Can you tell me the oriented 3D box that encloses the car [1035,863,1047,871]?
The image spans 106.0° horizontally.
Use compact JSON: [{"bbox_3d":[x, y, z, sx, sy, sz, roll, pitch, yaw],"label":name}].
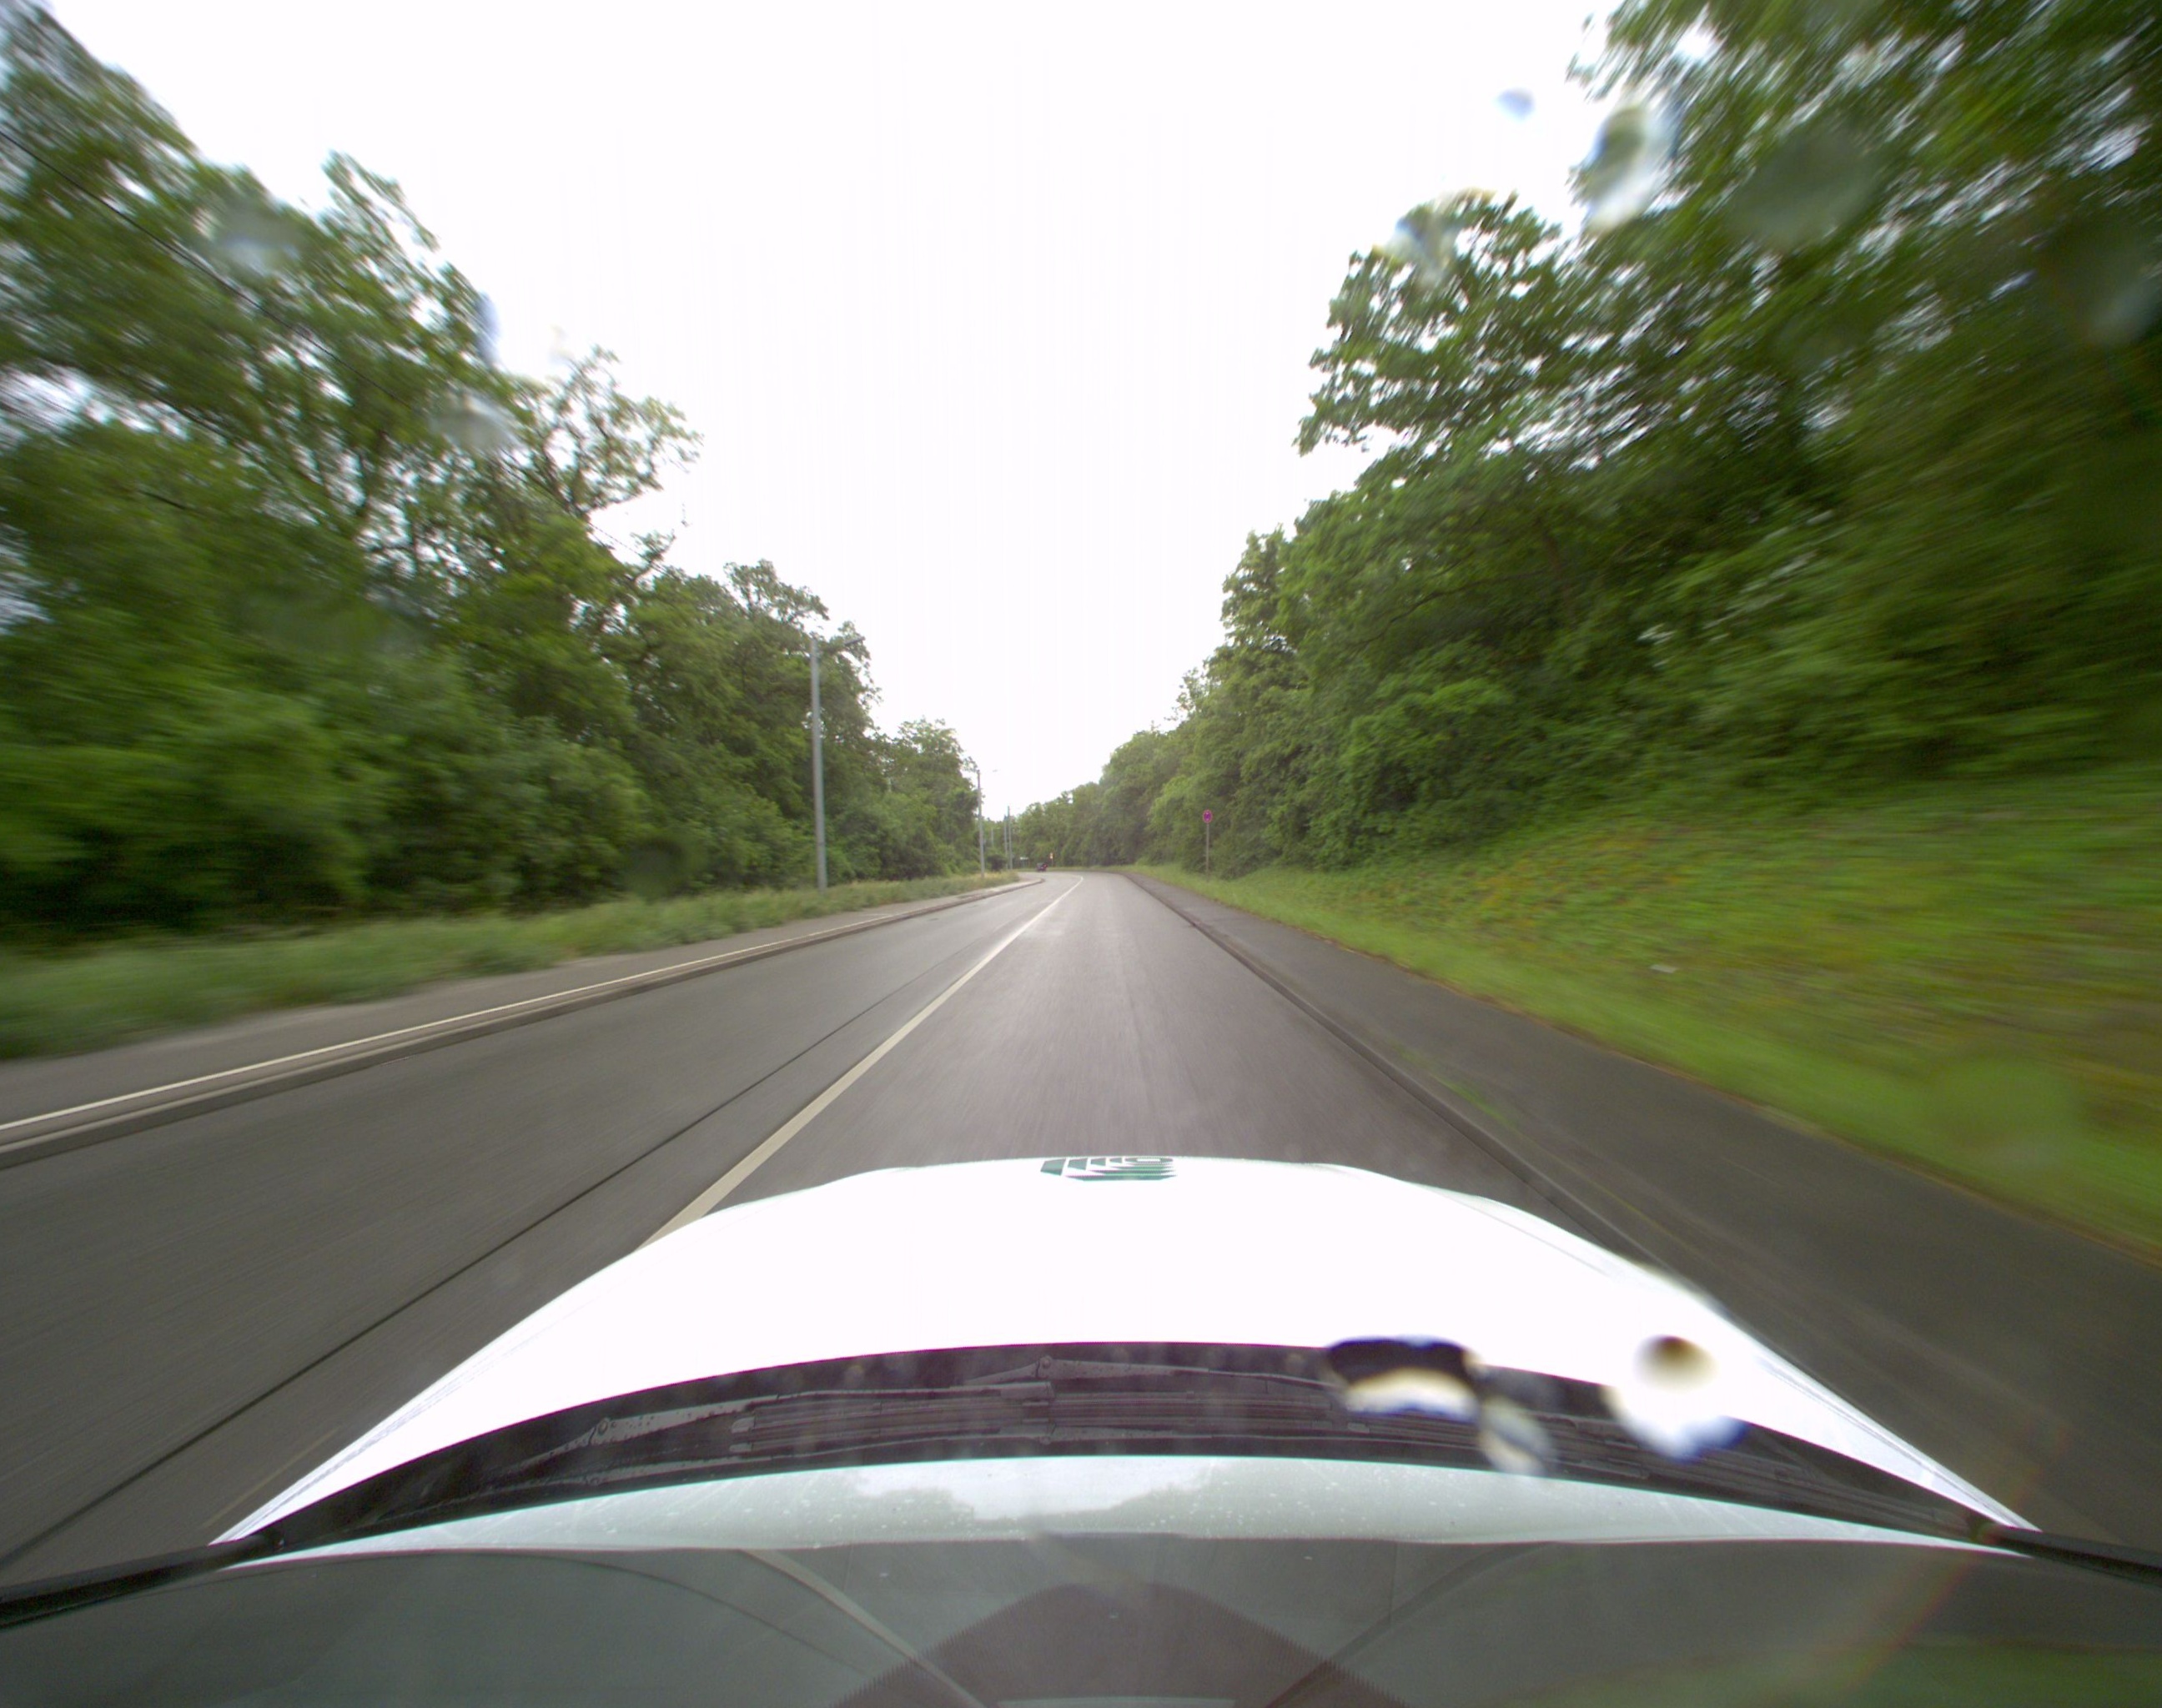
[{"bbox_3d":[-8.343,2.687,168.237,1.869,1.596,3.983,2,-1,-12],"label":"car"}]
